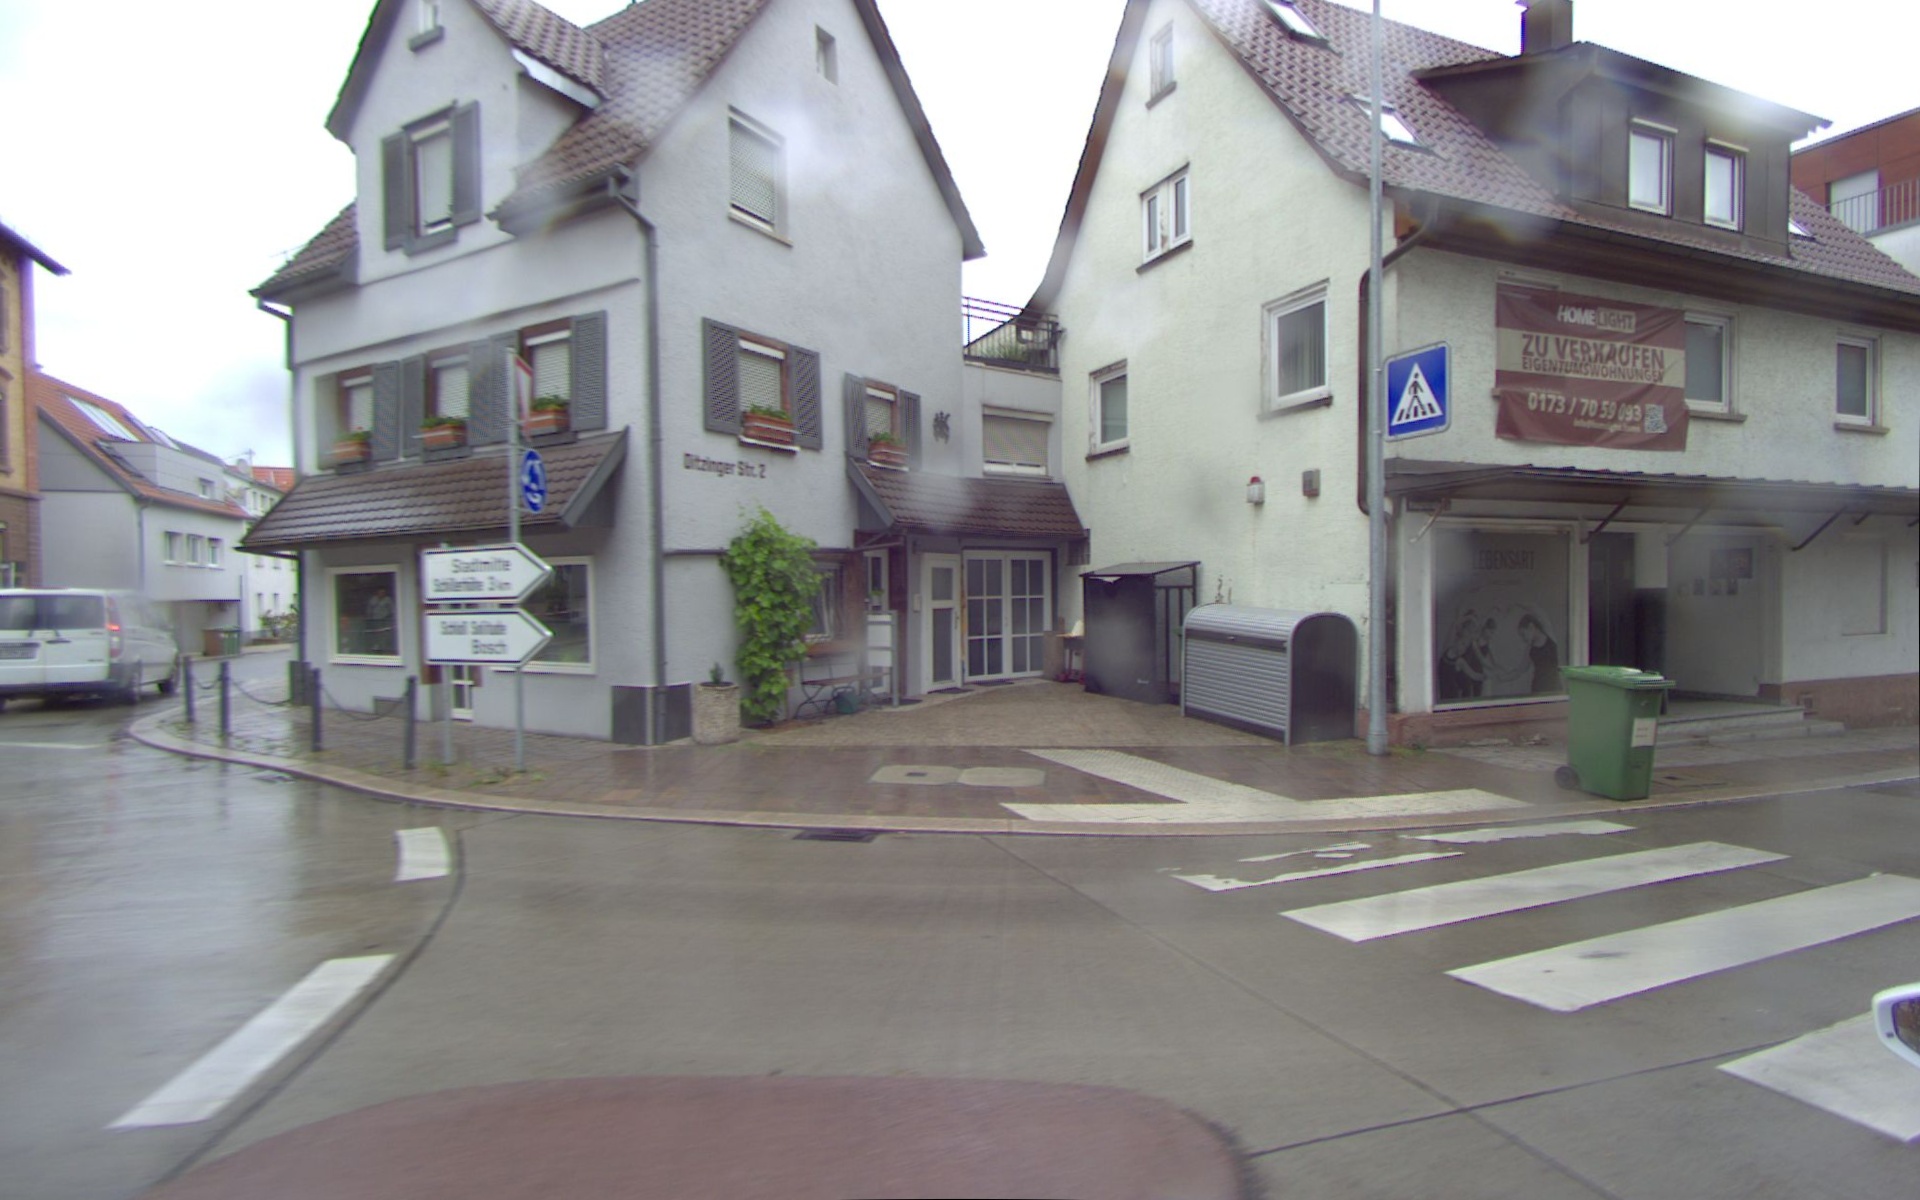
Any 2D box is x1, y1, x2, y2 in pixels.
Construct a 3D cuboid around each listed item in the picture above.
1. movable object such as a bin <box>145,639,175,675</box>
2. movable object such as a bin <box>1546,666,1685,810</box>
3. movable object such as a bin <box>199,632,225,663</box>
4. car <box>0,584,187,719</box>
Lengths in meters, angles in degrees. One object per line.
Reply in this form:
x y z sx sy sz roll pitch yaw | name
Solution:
-27.340 1.934 34.341 0.620 1.188 0.757 1 -1 -26 | movable object such as a bin
5.595 1.144 8.585 0.752 1.095 0.684 1 2 -30 | movable object such as a bin
-29.035 1.844 38.997 0.648 1.184 0.777 1 -1 -26 | movable object such as a bin
-14.584 0.819 16.702 2.135 1.923 4.886 0 -2 -30 | car
